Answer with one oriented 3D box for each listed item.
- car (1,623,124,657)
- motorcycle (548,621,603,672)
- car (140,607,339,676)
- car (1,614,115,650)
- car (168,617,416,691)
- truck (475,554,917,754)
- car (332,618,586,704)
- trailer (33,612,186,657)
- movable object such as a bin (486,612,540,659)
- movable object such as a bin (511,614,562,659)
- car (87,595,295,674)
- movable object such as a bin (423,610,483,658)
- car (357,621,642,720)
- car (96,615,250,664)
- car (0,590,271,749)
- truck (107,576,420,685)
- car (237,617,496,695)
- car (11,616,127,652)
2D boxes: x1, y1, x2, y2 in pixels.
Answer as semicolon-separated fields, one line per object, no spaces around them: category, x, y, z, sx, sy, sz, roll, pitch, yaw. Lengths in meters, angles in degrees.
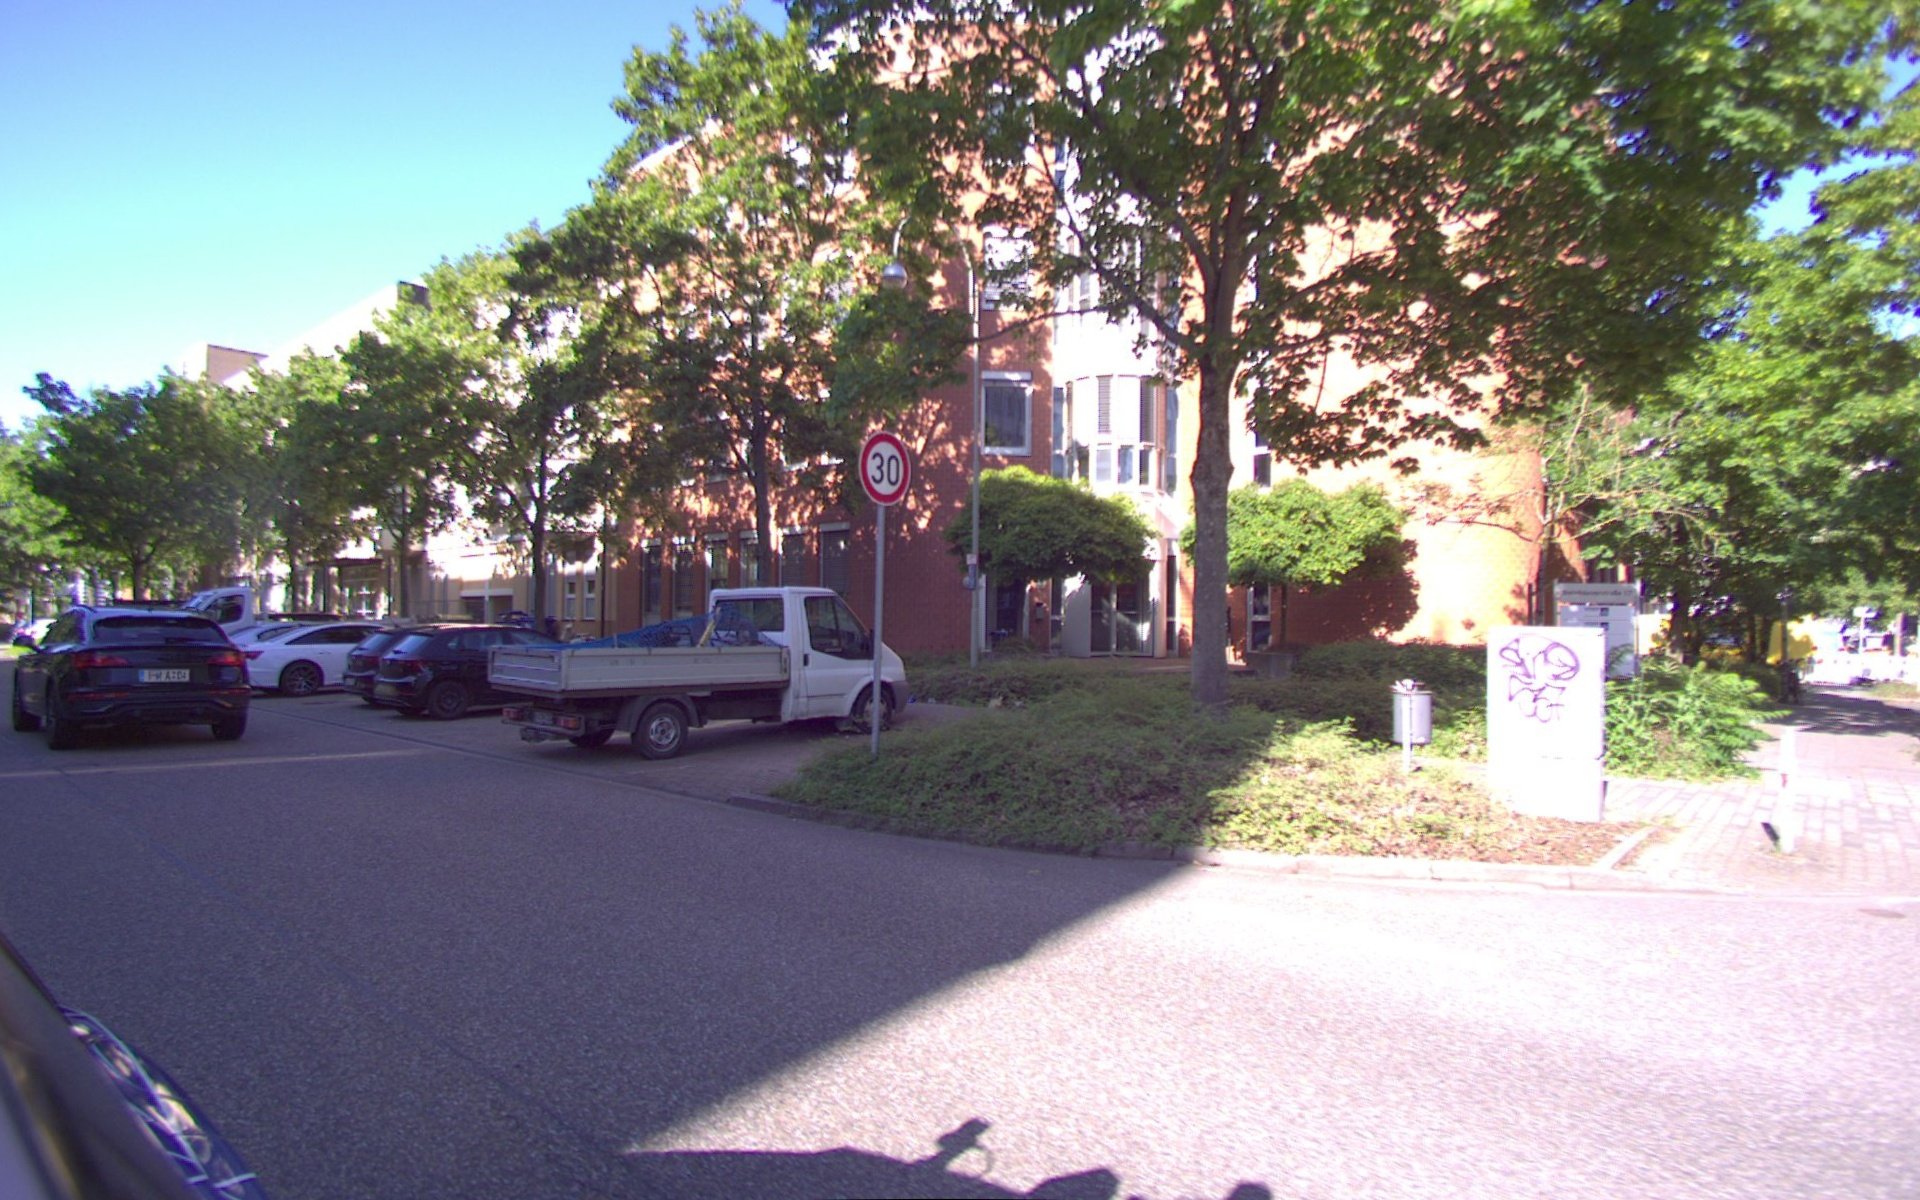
car;-41.925;1.846;47.335;1.800;1.413;4.109;-1;0;40
motorcycle;-12.524;1.491;32.938;2.108;1.603;0.707;-1;-3;40
car;-19.504;1.055;27.521;1.999;1.674;4.065;-1;0;40
car;-43.710;1.513;49.103;1.727;1.582;3.946;-1;0;40
car;-15.193;1.152;23.218;1.998;1.498;4.383;-1;-1;39
truck;-3.038;0.636;12.582;2.138;1.974;4.930;-1;-3;43
car;-9.346;1.096;19.119;1.721;1.446;3.945;-1;-3;41
trailer;-32.725;1.302;39.042;1.853;1.584;4.220;-1;-1;37
movable object such as a bin;-16.137;1.280;36.543;1.436;1.632;1.137;-1;-2;29
movable object such as a bin;-15.003;1.281;35.883;1.239;1.575;1.137;-1;-2;29
car;-21.937;0.917;29.015;1.998;2.067;4.437;-1;0;39
movable object such as a bin;-19.950;1.331;39.811;1.664;1.810;1.582;-1;-2;42
car;-7.568;1.090;16.873;1.790;1.446;3.941;-1;-2;45
car;-25.653;1.253;33.053;1.733;1.472;3.791;-1;-1;44
car;-10.648;0.799;12.931;4.348;1.697;1.873;-1;-3;39
truck;-17.453;0.800;25.720;2.186;2.440;6.166;-1;-3;41
car;-12.764;1.141;22.009;1.888;1.453;4.496;-2;-1;39
car;-39.824;1.489;45.279;1.753;1.463;3.716;-1;0;40
